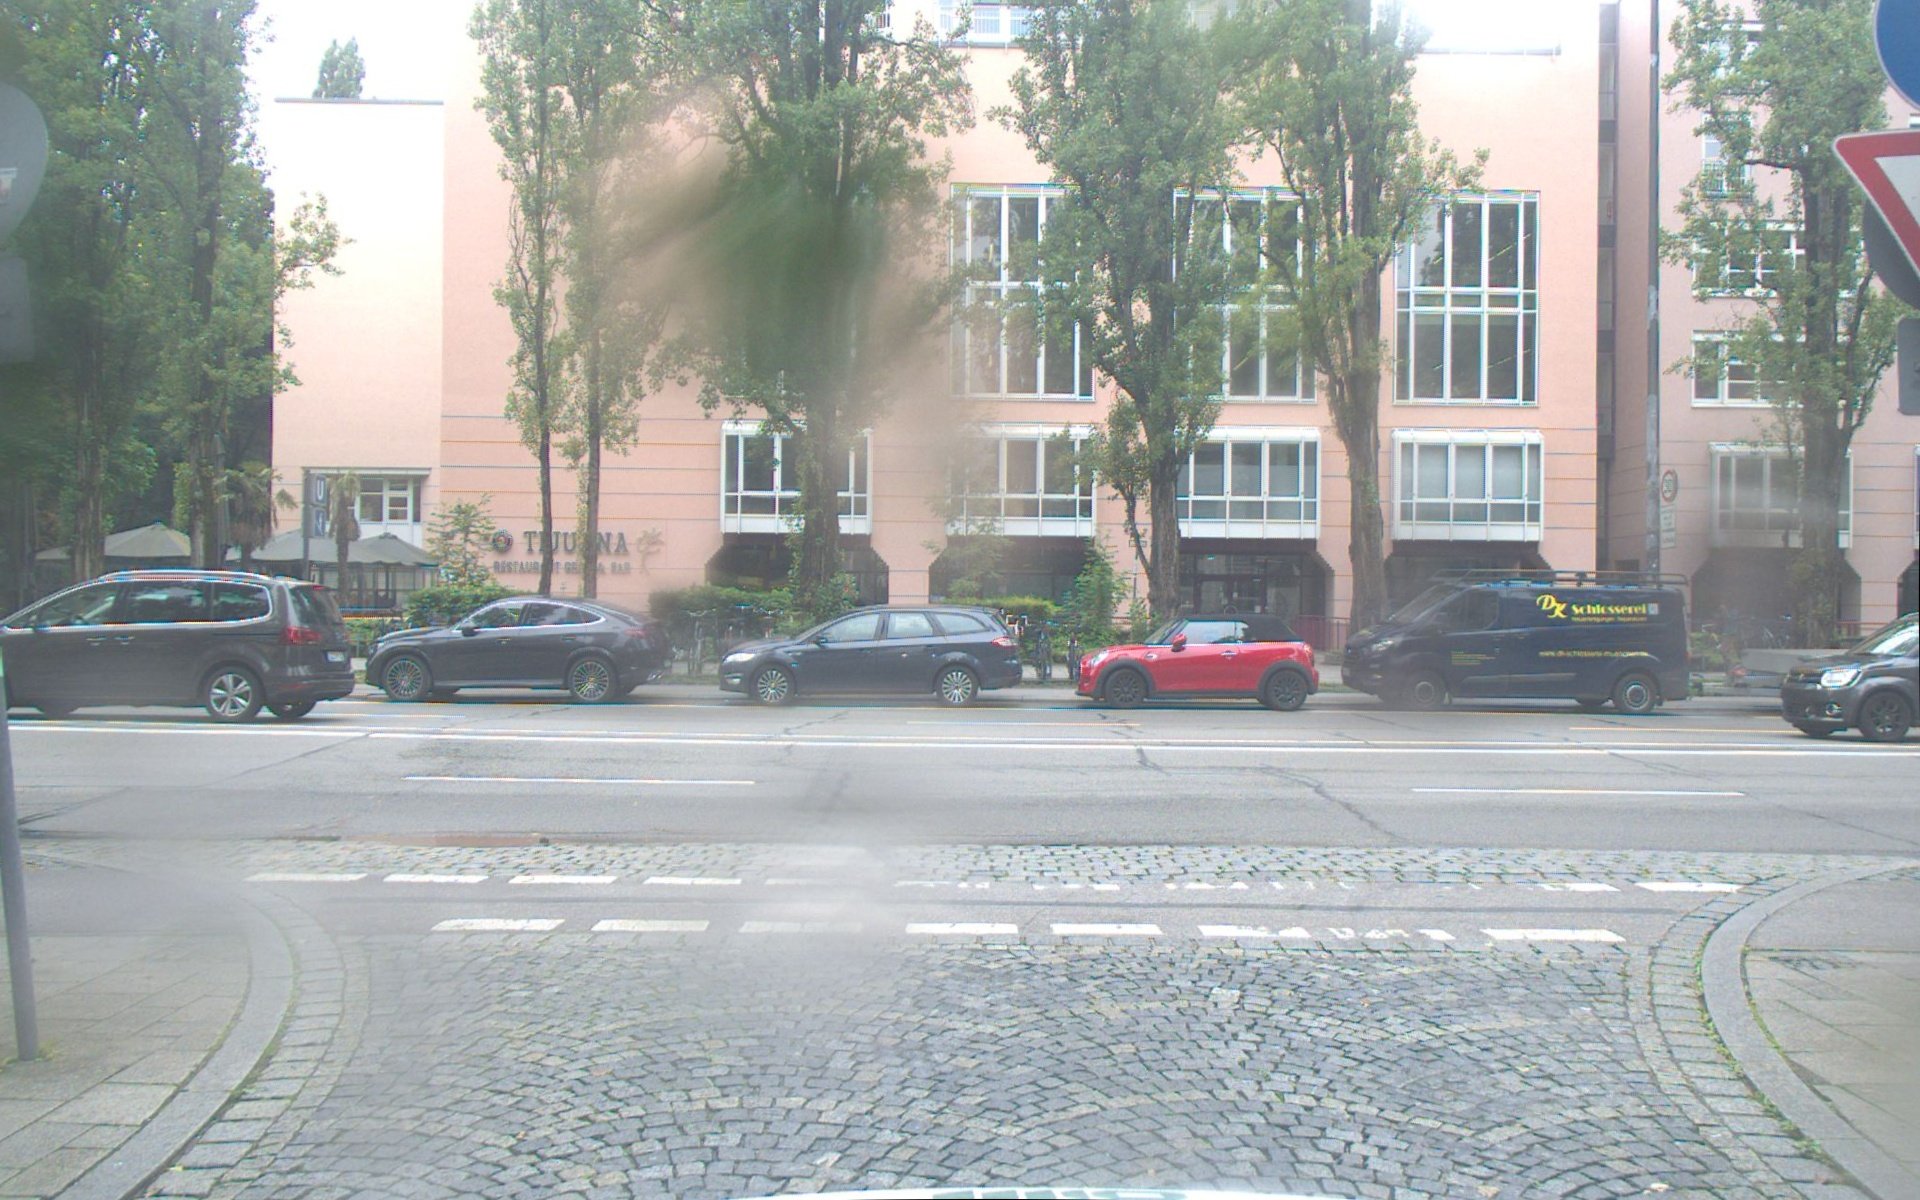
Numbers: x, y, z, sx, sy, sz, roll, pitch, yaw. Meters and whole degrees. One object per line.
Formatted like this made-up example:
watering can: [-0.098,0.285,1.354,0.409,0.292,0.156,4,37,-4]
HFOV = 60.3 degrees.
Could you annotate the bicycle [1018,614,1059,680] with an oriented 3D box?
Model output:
bicycle: [1.418,0.845,30.128,0.660,1.144,1.742,0,0,0]

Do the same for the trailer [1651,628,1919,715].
trailer: [14.313,1.108,26.012,5.895,1.220,2.405,0,0,0]

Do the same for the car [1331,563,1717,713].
car: [8.738,0.567,25.950,5.367,2.235,2.023,0,0,0]

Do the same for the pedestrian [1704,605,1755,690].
pedestrian: [15.972,0.976,34.356,0.714,1.743,0.709,1,0,0]

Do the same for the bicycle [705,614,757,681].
bicycle: [-4.144,0.847,30.062,0.660,1.144,1.989,0,0,0]

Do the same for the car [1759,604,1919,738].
car: [12.094,0.861,20.328,3.663,1.554,1.849,1,-1,0]

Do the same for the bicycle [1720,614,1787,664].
bicycle: [19.057,0.916,39.773,0.660,1.144,1.989,0,0,0]

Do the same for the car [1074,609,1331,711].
car: [3.696,0.908,25.684,3.780,1.474,1.679,0,0,2]

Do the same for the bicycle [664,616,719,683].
bicycle: [-4.872,0.888,30.085,0.660,1.144,1.989,0,0,0]

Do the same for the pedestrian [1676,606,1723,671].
pedestrian: [16.267,0.842,36.377,0.714,1.393,0.709,1,0,0]

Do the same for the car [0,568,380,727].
car: [-9.616,0.547,19.638,4.701,1.752,2.000,1,-1,0]

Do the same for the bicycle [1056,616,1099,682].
bicycle: [2.130,0.871,30.103,0.660,1.144,1.742,0,0,0]

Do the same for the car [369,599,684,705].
car: [-6.666,0.785,25.773,4.408,1.555,1.793,0,0,-1]

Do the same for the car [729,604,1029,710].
car: [-1.215,0.860,25.812,4.514,1.555,1.793,0,0,-1]

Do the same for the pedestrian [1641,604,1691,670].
pedestrian: [15.349,0.797,35.969,0.699,1.393,0.725,1,0,-30]
